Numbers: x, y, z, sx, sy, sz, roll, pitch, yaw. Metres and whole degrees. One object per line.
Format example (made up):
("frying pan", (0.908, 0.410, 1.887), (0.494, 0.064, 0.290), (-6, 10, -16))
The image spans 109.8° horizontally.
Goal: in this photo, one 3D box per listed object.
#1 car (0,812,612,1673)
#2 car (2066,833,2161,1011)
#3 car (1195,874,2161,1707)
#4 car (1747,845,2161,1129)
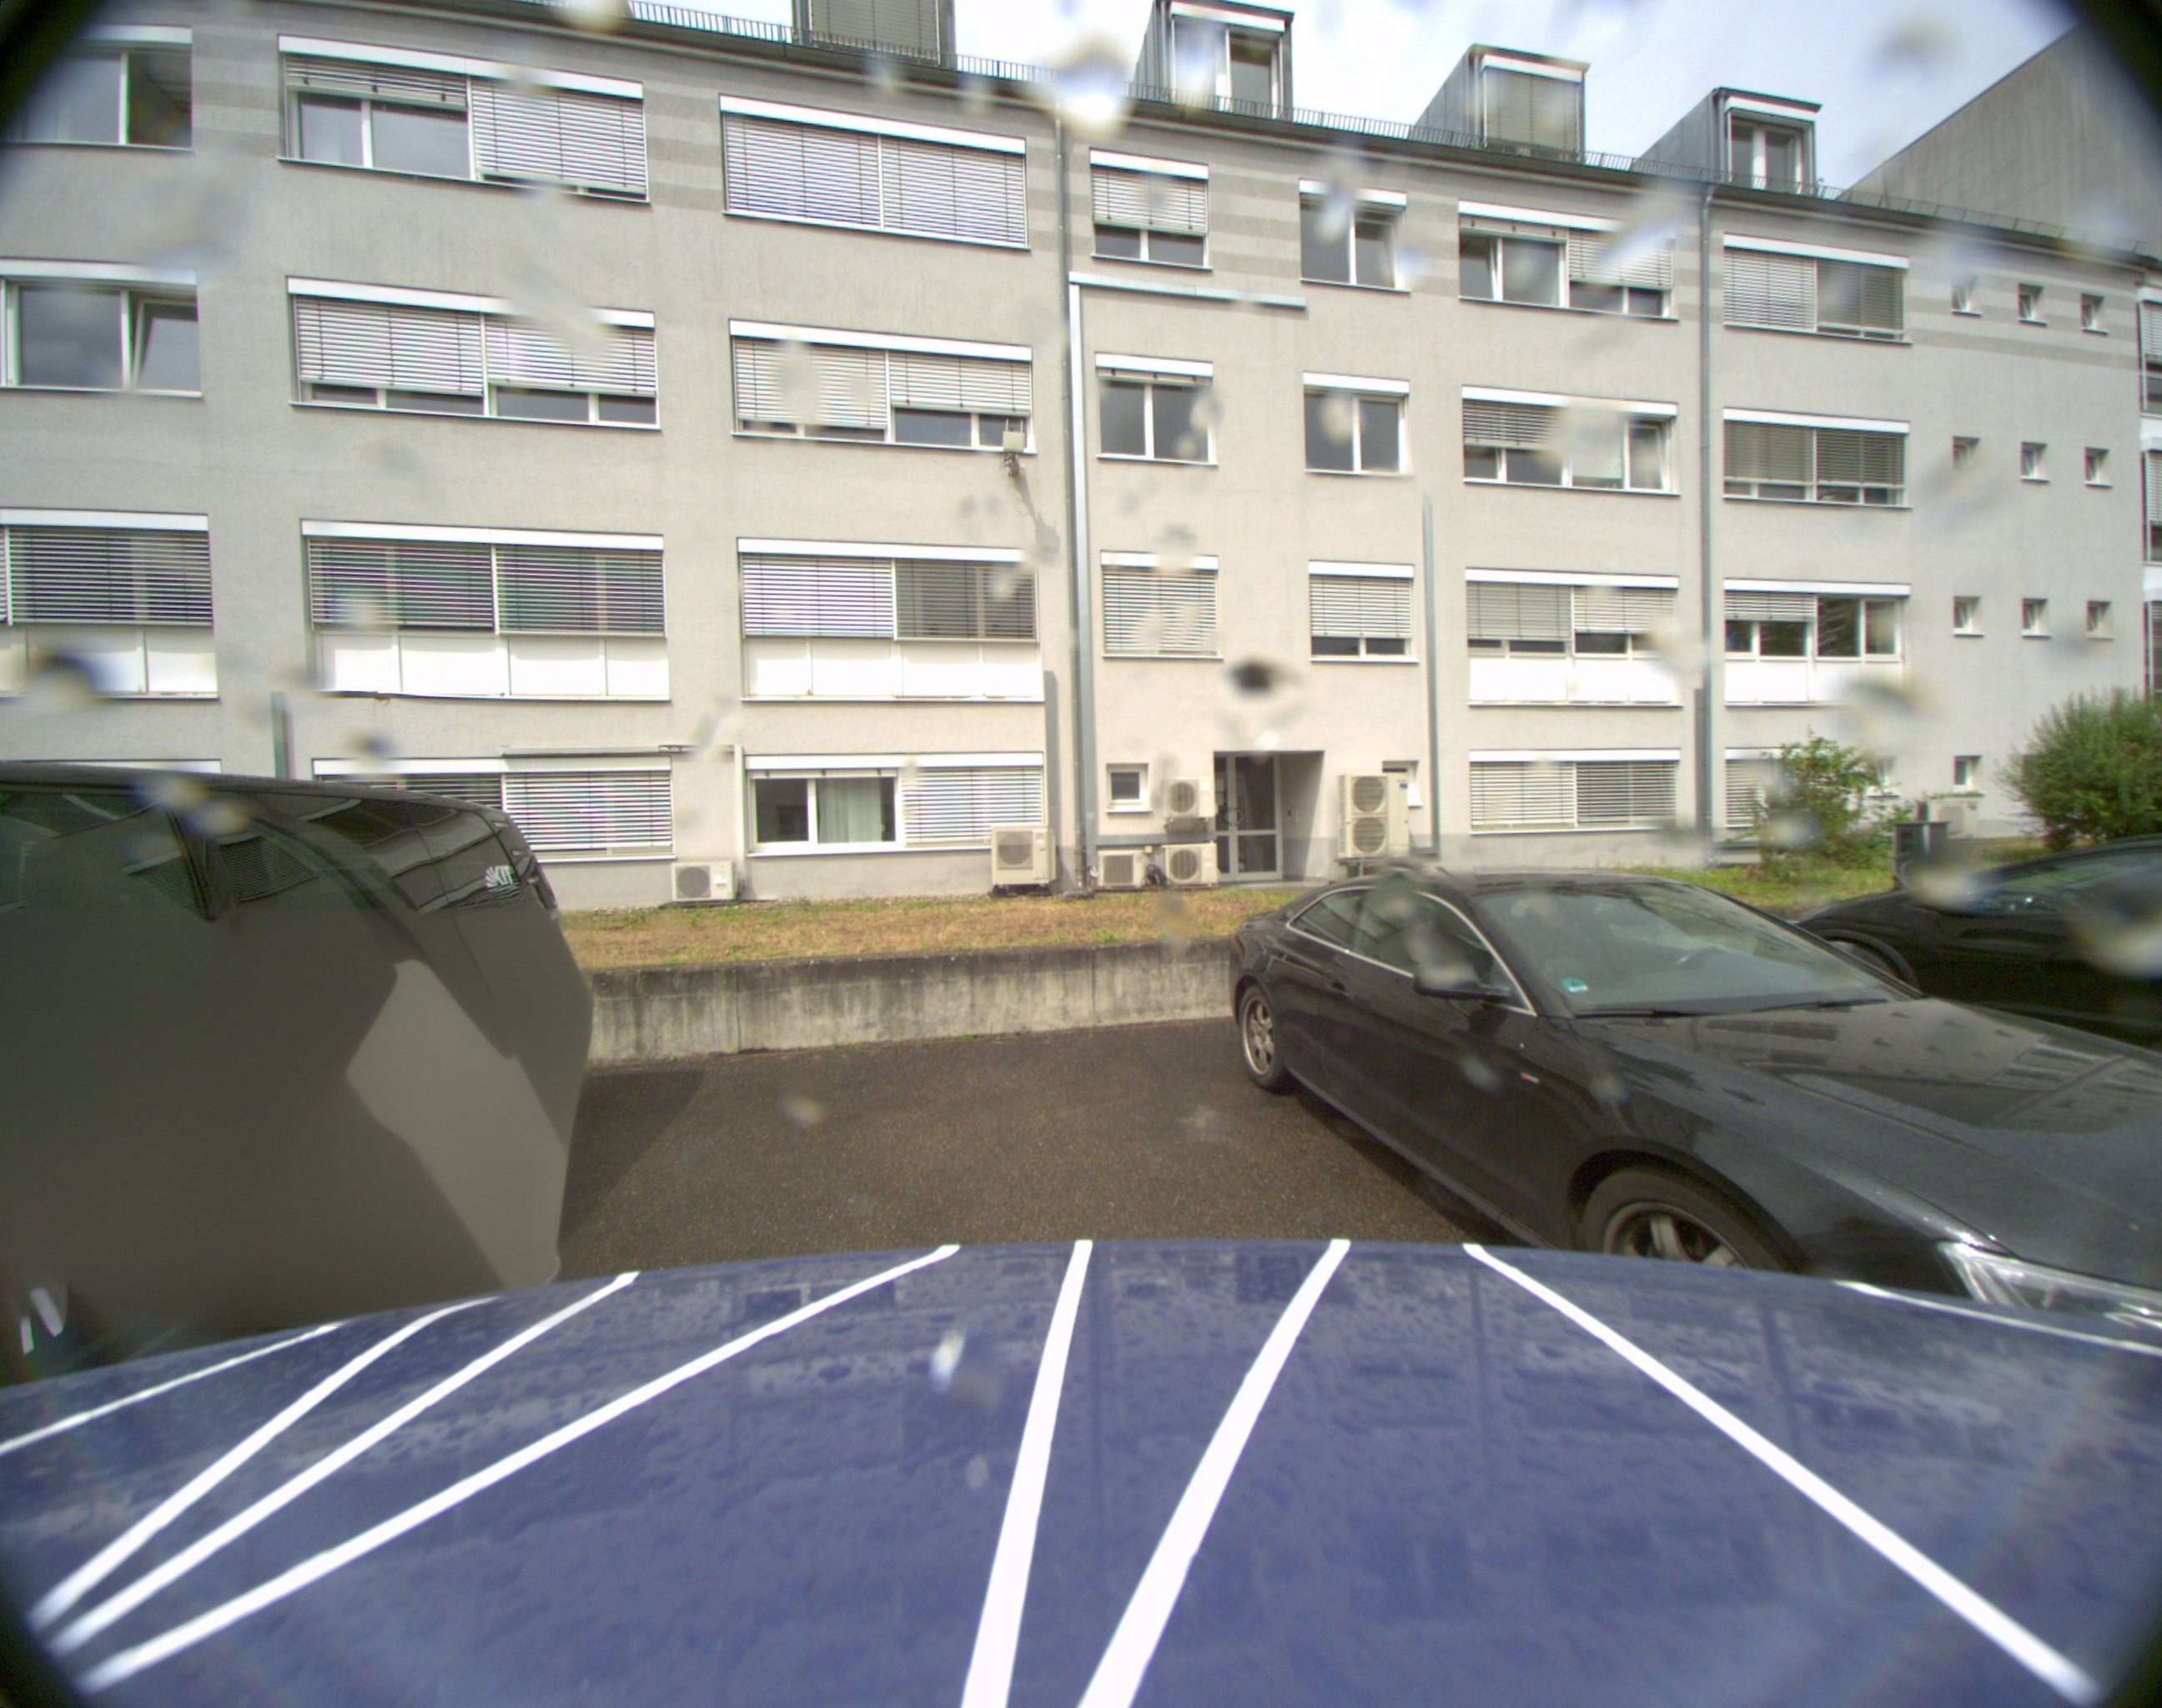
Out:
("car", (-3.473, 0.853, 2.192), (1.971, 1.854, 4.742), (-2, 2, -11))
("car", (9.991, 0.588, 4.900), (1.696, 1.434, 4.121), (-2, 2, -9))
("car", (2.071, 0.913, 3.285), (1.763, 1.344, 4.524), (-2, 2, -10))
("car", (6.664, 0.728, 4.209), (1.763, 1.434, 4.310), (-2, 2, -11))
